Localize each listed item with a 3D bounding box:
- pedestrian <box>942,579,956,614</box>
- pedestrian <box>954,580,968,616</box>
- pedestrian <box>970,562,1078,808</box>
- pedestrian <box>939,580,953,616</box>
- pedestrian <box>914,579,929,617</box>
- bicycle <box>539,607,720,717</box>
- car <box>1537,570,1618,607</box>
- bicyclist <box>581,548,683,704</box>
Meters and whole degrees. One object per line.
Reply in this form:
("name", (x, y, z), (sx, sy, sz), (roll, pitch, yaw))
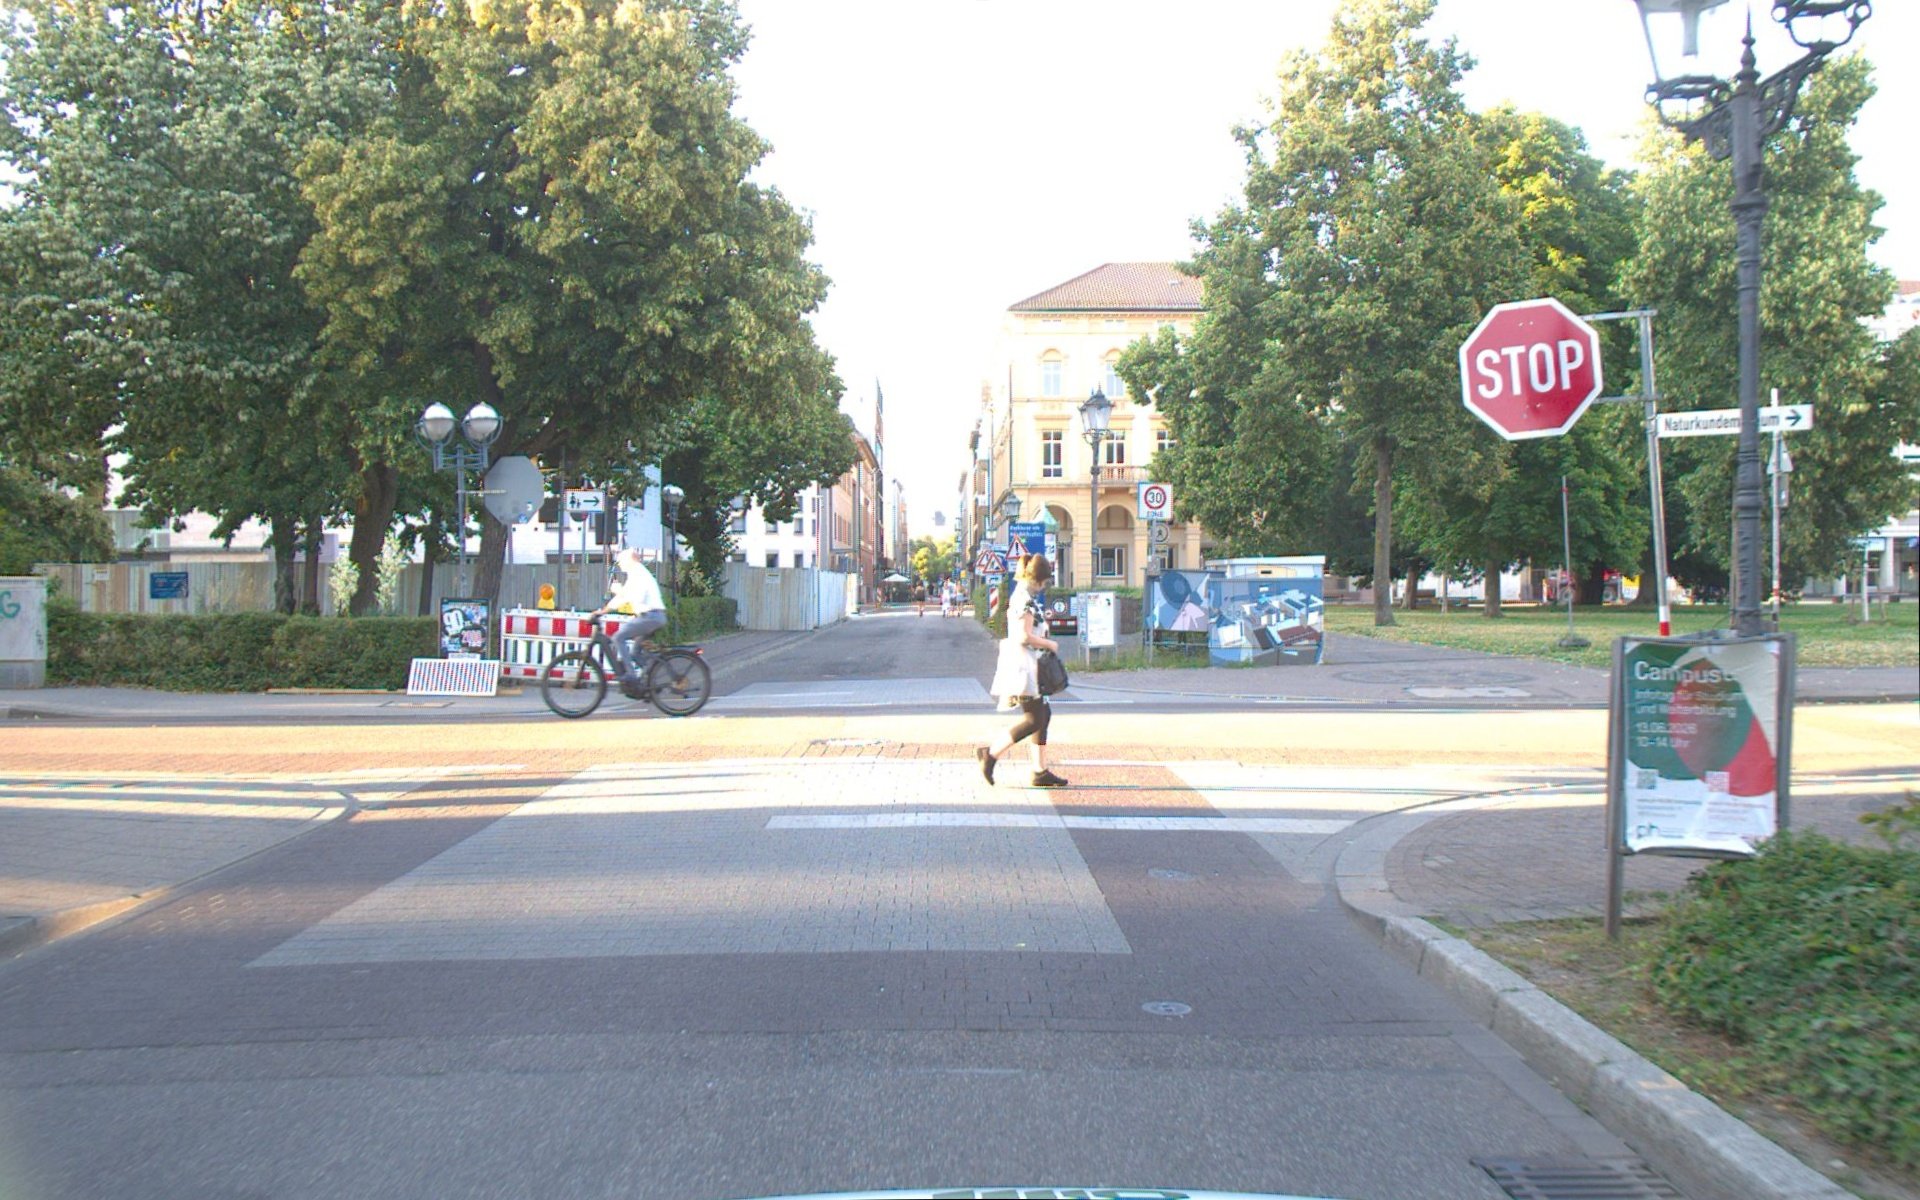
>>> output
("pedestrian", (-0.538, -0.167, 79.004), (0.644, 1.664, 0.745), (-1, 0, -1))
("pedestrian", (0.046, -0.102, 77.584), (0.644, 1.645, 0.745), (-1, 0, -1))
("pedestrian", (0.451, 0.594, 12.011), (0.719, 1.719, 0.836), (-1, 0, -2))
("pedestrian", (-0.649, -0.090, 77.541), (0.644, 1.645, 0.745), (-1, 0, -1))
("pedestrian", (-1.839, -0.079, 78.833), (0.644, 1.790, 0.745), (-1, 0, -1))
("bicycle", (-3.573, 0.661, 18.004), (1.891, 1.141, 0.595), (-1, 0, -9))
("car", (35.943, -0.665, 96.319), (3.949, 2.049, 2.000), (-1, 0, 0))
("bicyclist", (-3.561, 0.273, 18.008), (1.041, 1.661, 0.595), (-1, 0, -8))
